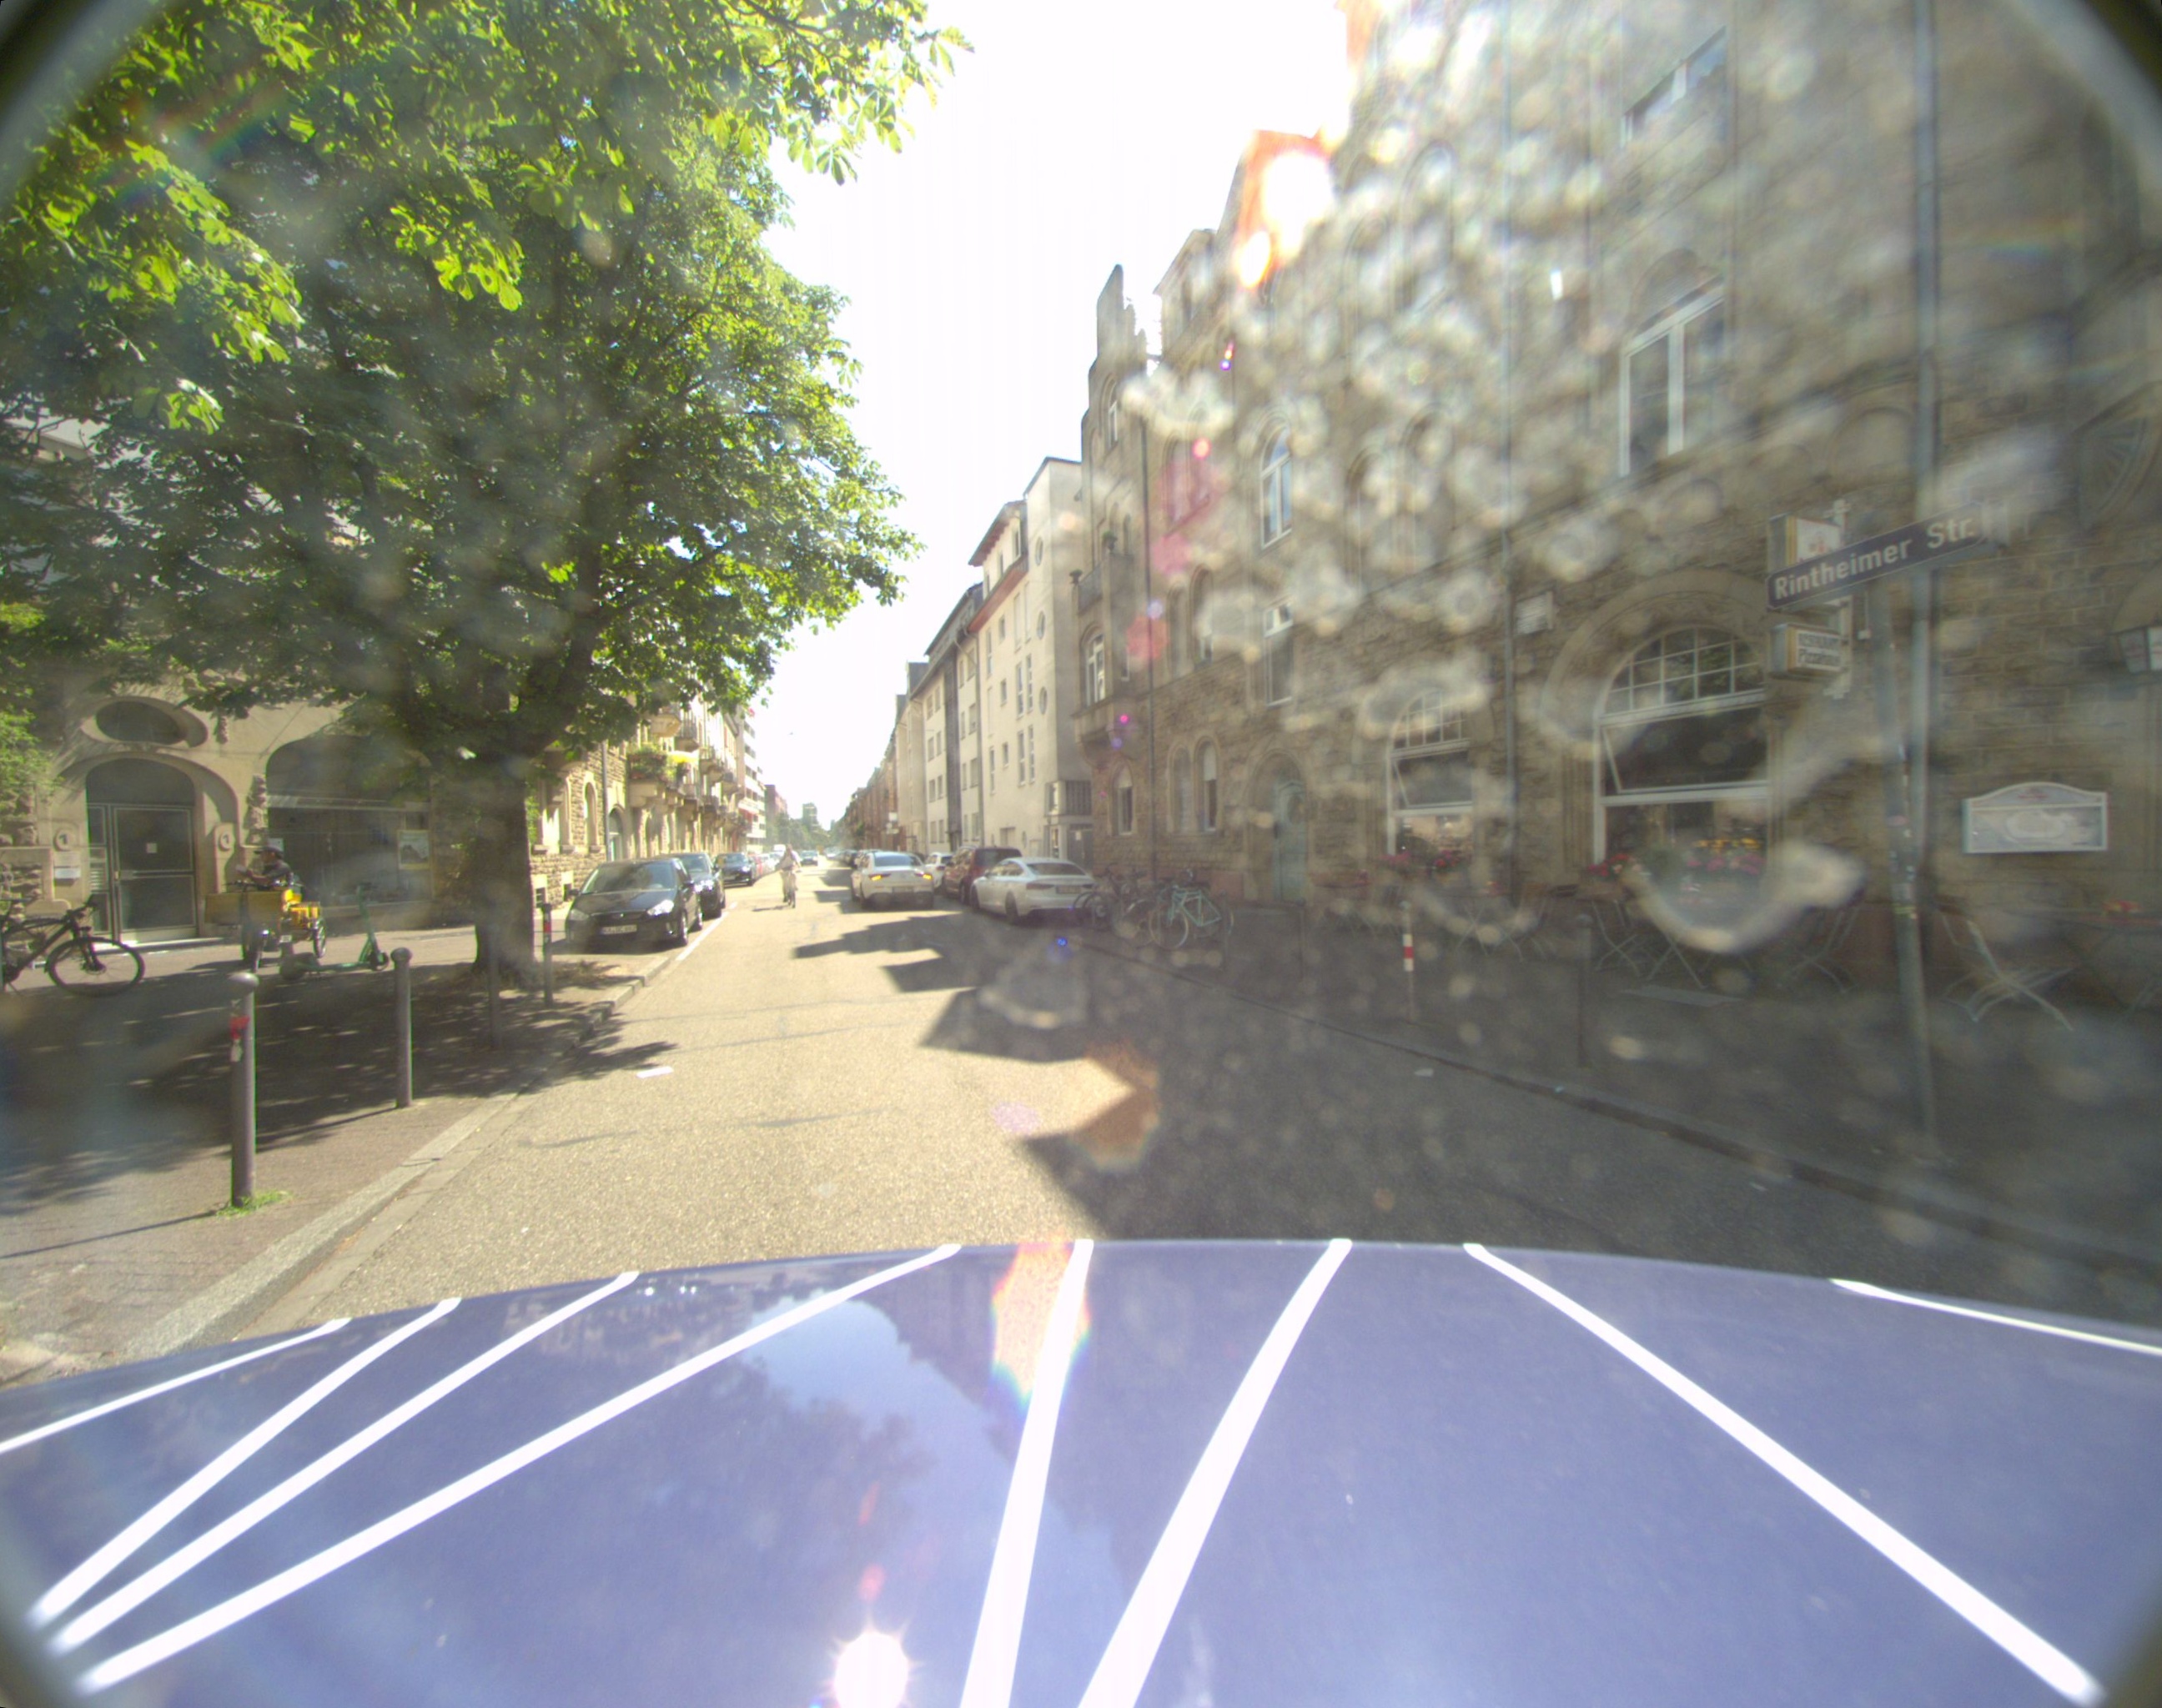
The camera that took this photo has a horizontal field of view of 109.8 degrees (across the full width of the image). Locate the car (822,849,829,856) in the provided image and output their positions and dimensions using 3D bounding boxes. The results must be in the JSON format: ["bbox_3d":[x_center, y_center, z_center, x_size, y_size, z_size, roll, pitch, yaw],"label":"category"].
[{"bbox_3d":[-69.697,-0.463,207.343,1.787,2.002,3.993,-2,1,-17],"label":"car"}]

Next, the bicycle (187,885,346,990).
[{"bbox_3d":[-11.370,1.092,10.736,0.797,1.162,2.571,-1,1,-31],"label":"bicycle"}]

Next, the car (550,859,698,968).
[{"bbox_3d":[-8.182,0.945,13.983,1.670,1.532,4.169,-4,2,-23],"label":"car"}]

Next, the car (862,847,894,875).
[{"bbox_3d":[-12.790,0.407,47.745,1.610,1.634,3.969,1,1,-20],"label":"car"}]

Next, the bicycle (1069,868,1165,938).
[{"bbox_3d":[0.659,0.850,13.595,1.710,1.094,0.291,-4,3,-24],"label":"bicycle"}]

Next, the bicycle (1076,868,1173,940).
[{"bbox_3d":[0.783,0.850,13.303,1.710,1.094,0.291,-4,3,-24],"label":"bicycle"}]

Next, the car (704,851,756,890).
[{"bbox_3d":[-16.325,0.722,35.520,1.840,1.558,4.596,-4,2,-21],"label":"car"}]

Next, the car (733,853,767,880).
[{"bbox_3d":[-20.066,0.707,46.176,1.577,1.444,3.836,-4,2,-20],"label":"car"}]

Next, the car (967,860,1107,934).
[{"bbox_3d":[-1.151,0.847,16.967,1.709,1.345,4.506,1,0,-23],"label":"car"}]

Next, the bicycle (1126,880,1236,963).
[{"bbox_3d":[1.417,0.926,10.703,1.531,1.002,0.366,-4,3,-24],"label":"bicycle"}]

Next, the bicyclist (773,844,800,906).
[{"bbox_3d":[-7.991,0.563,20.642,0.646,1.640,0.621,-1,2,-19],"label":"bicyclist"}]

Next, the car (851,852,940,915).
[{"bbox_3d":[-5.137,0.718,20.609,1.849,1.452,4.354,1,0,-20],"label":"car"}]

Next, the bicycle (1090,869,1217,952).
[{"bbox_3d":[1.169,0.858,12.010,2.004,1.123,0.435,-3,2,-24],"label":"bicycle"}]

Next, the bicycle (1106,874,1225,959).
[{"bbox_3d":[1.248,0.881,11.093,1.712,1.039,0.413,-4,3,-24],"label":"bicycle"}]

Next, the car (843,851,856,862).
[{"bbox_3d":[-30.481,0.316,100.136,1.452,1.391,3.519,3,0,-19],"label":"car"}]

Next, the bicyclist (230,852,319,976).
[{"bbox_3d":[-11.240,0.803,10.612,0.681,1.638,0.660,-2,2,-34],"label":"bicyclist"}]

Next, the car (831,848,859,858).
[{"bbox_3d":[-35.960,-0.154,115.897,4.003,1.422,1.675,-1,1,-18],"label":"car"}]

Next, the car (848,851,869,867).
[{"bbox_3d":[-22.239,0.499,75.855,1.785,1.421,3.830,3,0,-18],"label":"car"}]

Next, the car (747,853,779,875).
[{"bbox_3d":[-23.535,0.719,56.382,1.723,1.444,4.589,-4,2,-17],"label":"car"}]

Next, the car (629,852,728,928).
[{"bbox_3d":[-10.161,0.805,19.453,1.743,1.588,4.339,-4,2,-23],"label":"car"}]

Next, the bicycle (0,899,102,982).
[{"bbox_3d":[-14.656,1.186,10.158,0.548,1.033,1.838,0,1,13],"label":"bicycle"}]

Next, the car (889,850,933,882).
[{"bbox_3d":[-8.512,0.581,37.860,1.574,1.483,3.886,1,0,-20],"label":"car"}]

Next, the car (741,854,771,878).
[{"bbox_3d":[-21.877,0.758,51.227,1.596,1.444,3.849,-4,2,-21],"label":"car"}]

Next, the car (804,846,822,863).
[{"bbox_3d":[-26.627,-0.004,75.427,1.627,1.601,3.591,-1,1,-20],"label":"car"}]

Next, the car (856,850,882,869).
[{"bbox_3d":[-18.436,0.478,65.896,1.636,1.540,3.845,3,0,-23],"label":"car"}]

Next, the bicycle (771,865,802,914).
[{"bbox_3d":[-7.943,0.928,20.551,0.672,1.169,2.090,-1,1,-19],"label":"bicycle"}]

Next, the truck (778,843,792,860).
[{"bbox_3d":[-47.057,-0.445,120.848,1.872,2.715,4.499,-1,1,-19],"label":"truck"}]

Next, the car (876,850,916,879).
[{"bbox_3d":[-10.524,0.542,42.989,1.663,1.510,4.662,1,0,-20],"label":"car"}]

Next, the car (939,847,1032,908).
[{"bbox_3d":[-2.862,0.595,21.972,1.680,1.574,4.044,1,1,-22],"label":"car"}]

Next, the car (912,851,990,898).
[{"bbox_3d":[-4.629,0.653,26.508,1.784,1.451,4.270,1,0,-22],"label":"car"}]

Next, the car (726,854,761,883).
[{"bbox_3d":[-18.307,0.734,41.369,1.518,1.391,3.964,-4,2,-22],"label":"car"}]

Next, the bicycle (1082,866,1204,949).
[{"bbox_3d":[1.030,0.838,12.430,1.980,1.123,0.394,-5,3,-24],"label":"bicycle"}]

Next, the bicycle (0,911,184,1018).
[{"bbox_3d":[-11.312,1.196,8.279,1.908,1.033,0.633,-1,1,-20],"label":"bicycle"}]

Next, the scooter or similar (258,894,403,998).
[{"bbox_3d":[-9.282,1.103,9.449,0.442,1.130,1.186,0,1,17],"label":"scooter or similar"}]
